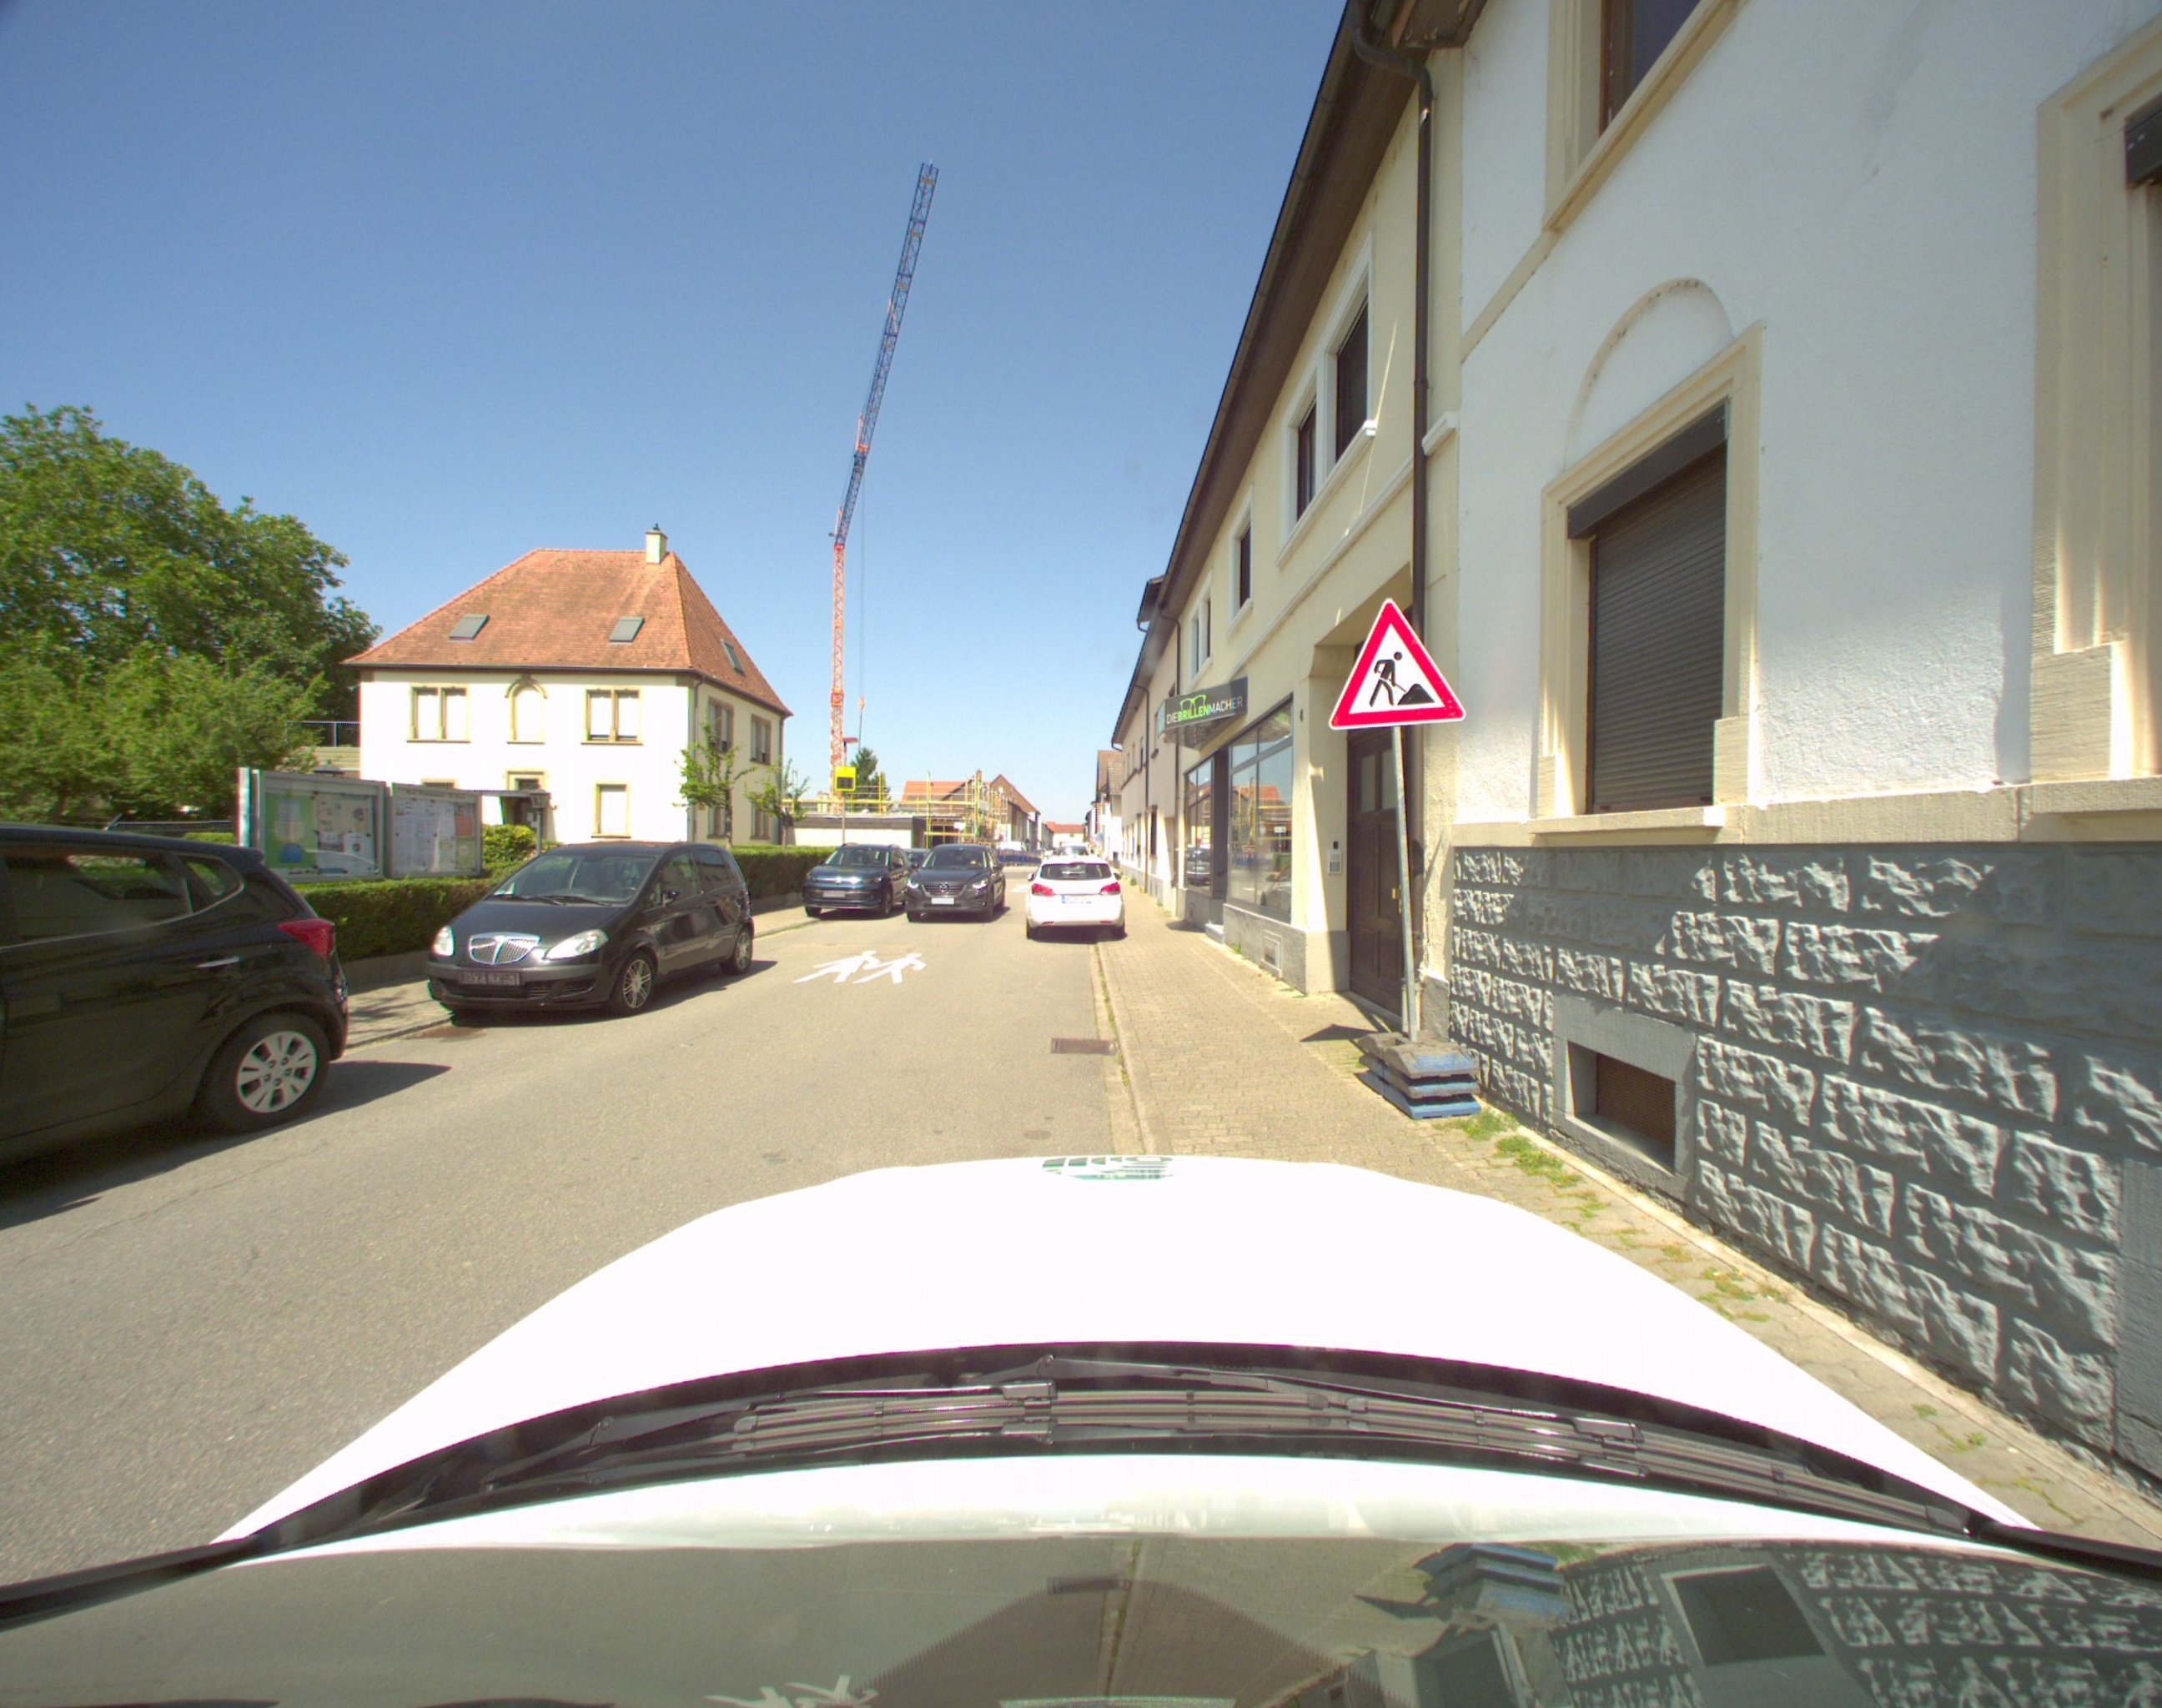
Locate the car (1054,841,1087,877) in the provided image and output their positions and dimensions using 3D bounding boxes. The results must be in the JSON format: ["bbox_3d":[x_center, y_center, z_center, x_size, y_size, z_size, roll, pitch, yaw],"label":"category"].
[{"bbox_3d":[-0.533,0.222,40.854,1.559,1.612,3.542,1,2,-1],"label":"car"}]

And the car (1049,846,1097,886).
[{"bbox_3d":[-0.406,0.487,35.678,1.880,1.556,3.890,-3,1,-3],"label":"car"}]

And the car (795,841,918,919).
[{"bbox_3d":[-5.187,0.535,19.429,1.821,1.630,4.215,1,0,-1],"label":"car"}]

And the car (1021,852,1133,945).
[{"bbox_3d":[-0.170,0.746,15.926,1.882,1.542,4.238,1,0,-3],"label":"car"}]

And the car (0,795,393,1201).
[{"bbox_3d":[-5.168,0.558,2.977,1.809,1.605,4.025,1,0,1],"label":"car"}]

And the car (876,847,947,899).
[{"bbox_3d":[-5.092,0.539,24.858,1.432,1.474,3.784,0,0,-2],"label":"car"}]

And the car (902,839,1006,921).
[{"bbox_3d":[-2.808,0.534,18.917,1.877,1.668,4.150,1,0,-2],"label":"car"}]

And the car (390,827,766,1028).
[{"bbox_3d":[-4.857,0.588,8.575,1.633,1.628,3.766,1,1,-1],"label":"car"}]
